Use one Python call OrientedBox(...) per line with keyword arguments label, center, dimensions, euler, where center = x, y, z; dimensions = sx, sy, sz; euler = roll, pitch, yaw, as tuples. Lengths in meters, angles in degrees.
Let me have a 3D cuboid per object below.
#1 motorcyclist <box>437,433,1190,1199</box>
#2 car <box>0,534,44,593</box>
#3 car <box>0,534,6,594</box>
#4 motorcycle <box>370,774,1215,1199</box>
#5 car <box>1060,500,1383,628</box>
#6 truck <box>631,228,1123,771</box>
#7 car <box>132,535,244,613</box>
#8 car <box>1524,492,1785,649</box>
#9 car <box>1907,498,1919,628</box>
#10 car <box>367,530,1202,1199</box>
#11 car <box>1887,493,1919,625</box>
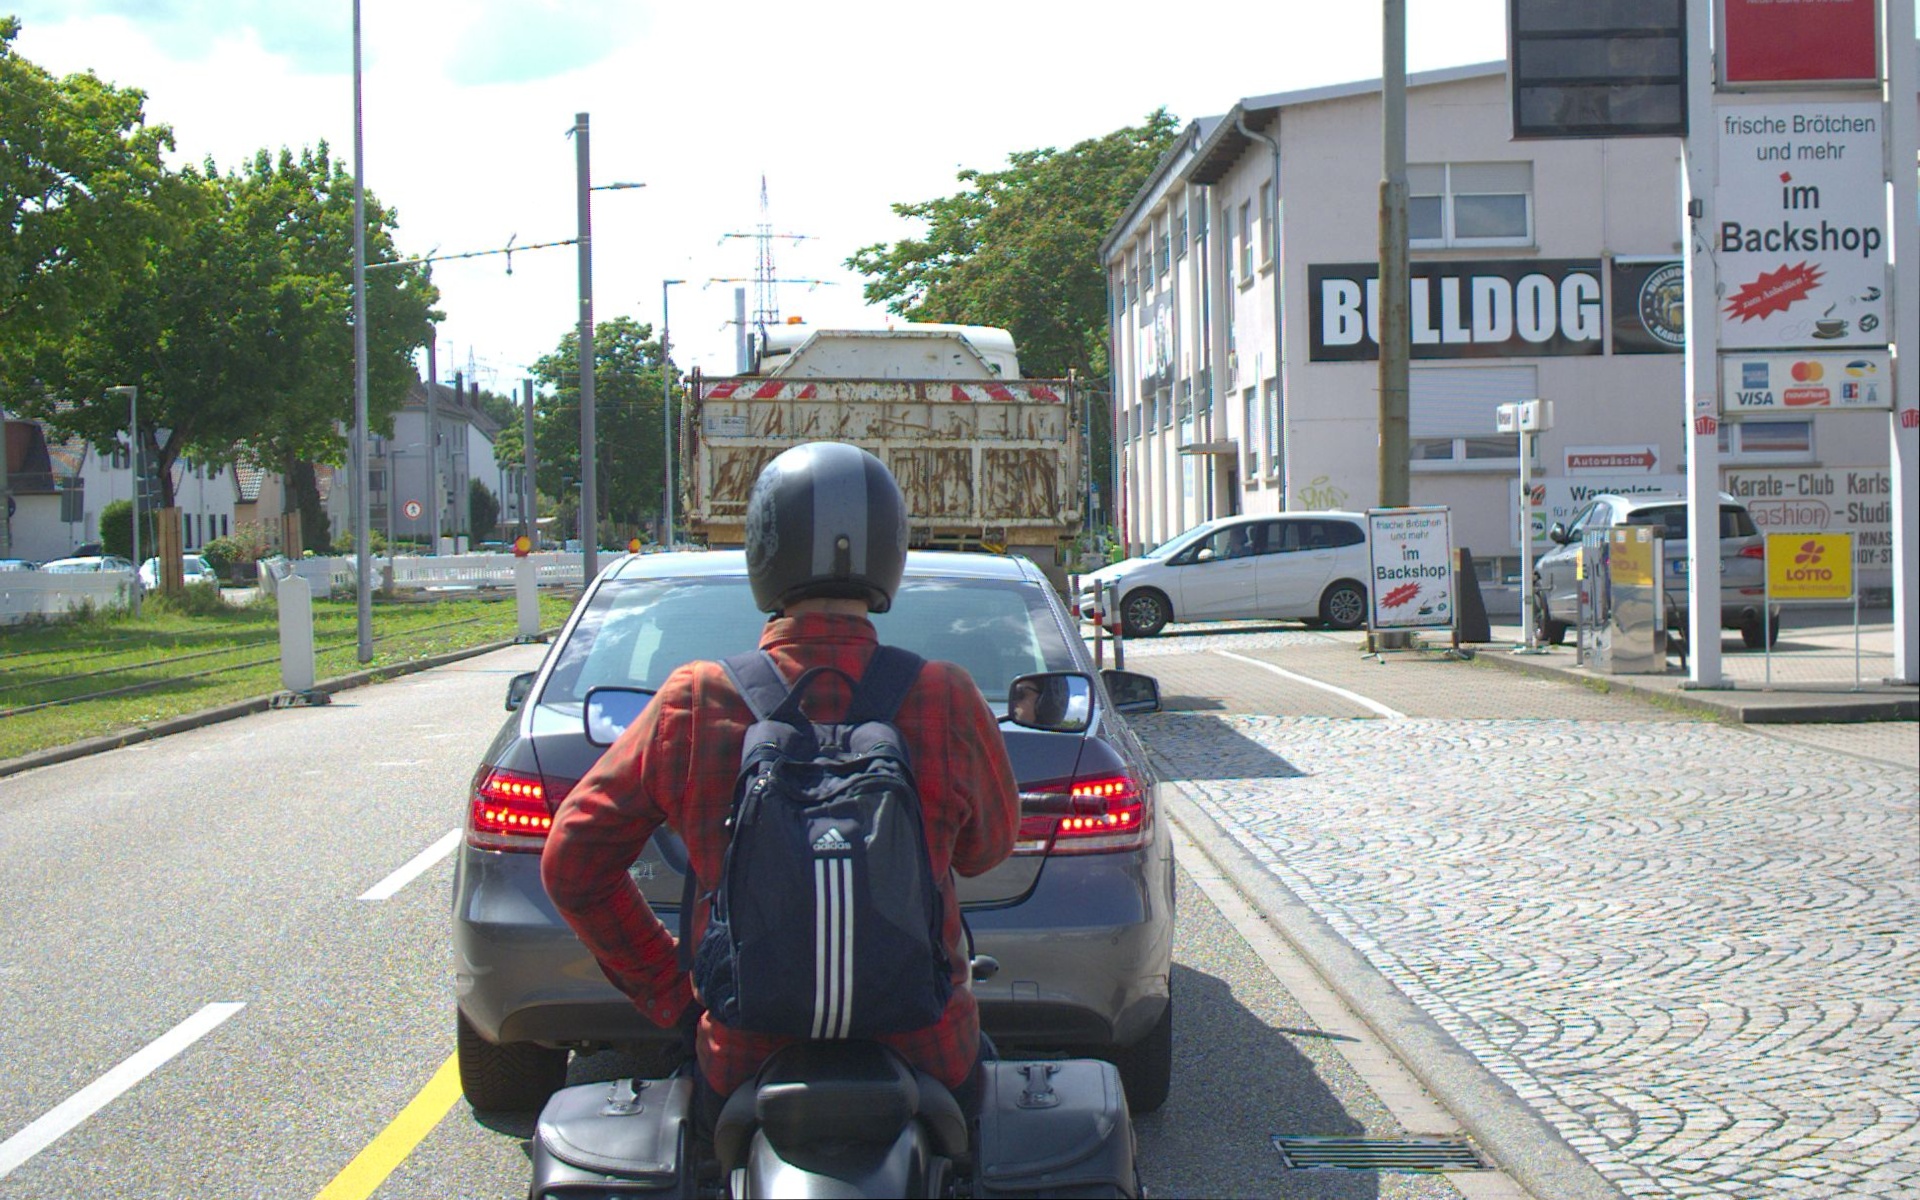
OrientedBox(label="motorcyclist", center=(-0.202, 0.587, 5.088), dimensions=(0.969, 1.627, 1.215), euler=(1, 1, -1))
OrientedBox(label="car", center=(-29.261, -1.116, 104.592), dimensions=(1.698, 1.733, 4.062), euler=(-1, 1, 0))
OrientedBox(label="car", center=(-28.786, -1.001, 98.581), dimensions=(1.698, 1.733, 4.062), euler=(-1, 1, 0))
OrientedBox(label="motorcycle", center=(-0.212, 0.862, 5.211), dimensions=(0.976, 1.010, 2.432), euler=(1, 1, -1))
OrientedBox(label="car", center=(3.554, -0.503, 47.034), dimensions=(4.104, 1.619, 1.686), euler=(-1, 1, -8))
OrientedBox(label="truck", center=(-0.630, -0.717, 25.472), dimensions=(2.970, 3.293, 8.408), euler=(-1, 1, -2))
OrientedBox(label="car", center=(-17.899, -0.626, 79.840), dimensions=(1.698, 1.733, 3.860), euler=(-1, 1, 0))
OrientedBox(label="car", center=(7.329, -0.343, 36.648), dimensions=(1.832, 1.530, 4.010), euler=(-1, 1, -2))
OrientedBox(label="car", center=(11.793, -0.403, 37.246), dimensions=(1.832, 1.474, 4.010), euler=(-1, 1, -2))
OrientedBox(label="car", center=(-0.446, 0.566, 9.700), dimensions=(1.832, 1.474, 4.010), euler=(-1, 1, -2))
OrientedBox(label="car", center=(13.649, -0.555, 42.478), dimensions=(4.107, 1.619, 1.685), euler=(-1, 1, 12))
